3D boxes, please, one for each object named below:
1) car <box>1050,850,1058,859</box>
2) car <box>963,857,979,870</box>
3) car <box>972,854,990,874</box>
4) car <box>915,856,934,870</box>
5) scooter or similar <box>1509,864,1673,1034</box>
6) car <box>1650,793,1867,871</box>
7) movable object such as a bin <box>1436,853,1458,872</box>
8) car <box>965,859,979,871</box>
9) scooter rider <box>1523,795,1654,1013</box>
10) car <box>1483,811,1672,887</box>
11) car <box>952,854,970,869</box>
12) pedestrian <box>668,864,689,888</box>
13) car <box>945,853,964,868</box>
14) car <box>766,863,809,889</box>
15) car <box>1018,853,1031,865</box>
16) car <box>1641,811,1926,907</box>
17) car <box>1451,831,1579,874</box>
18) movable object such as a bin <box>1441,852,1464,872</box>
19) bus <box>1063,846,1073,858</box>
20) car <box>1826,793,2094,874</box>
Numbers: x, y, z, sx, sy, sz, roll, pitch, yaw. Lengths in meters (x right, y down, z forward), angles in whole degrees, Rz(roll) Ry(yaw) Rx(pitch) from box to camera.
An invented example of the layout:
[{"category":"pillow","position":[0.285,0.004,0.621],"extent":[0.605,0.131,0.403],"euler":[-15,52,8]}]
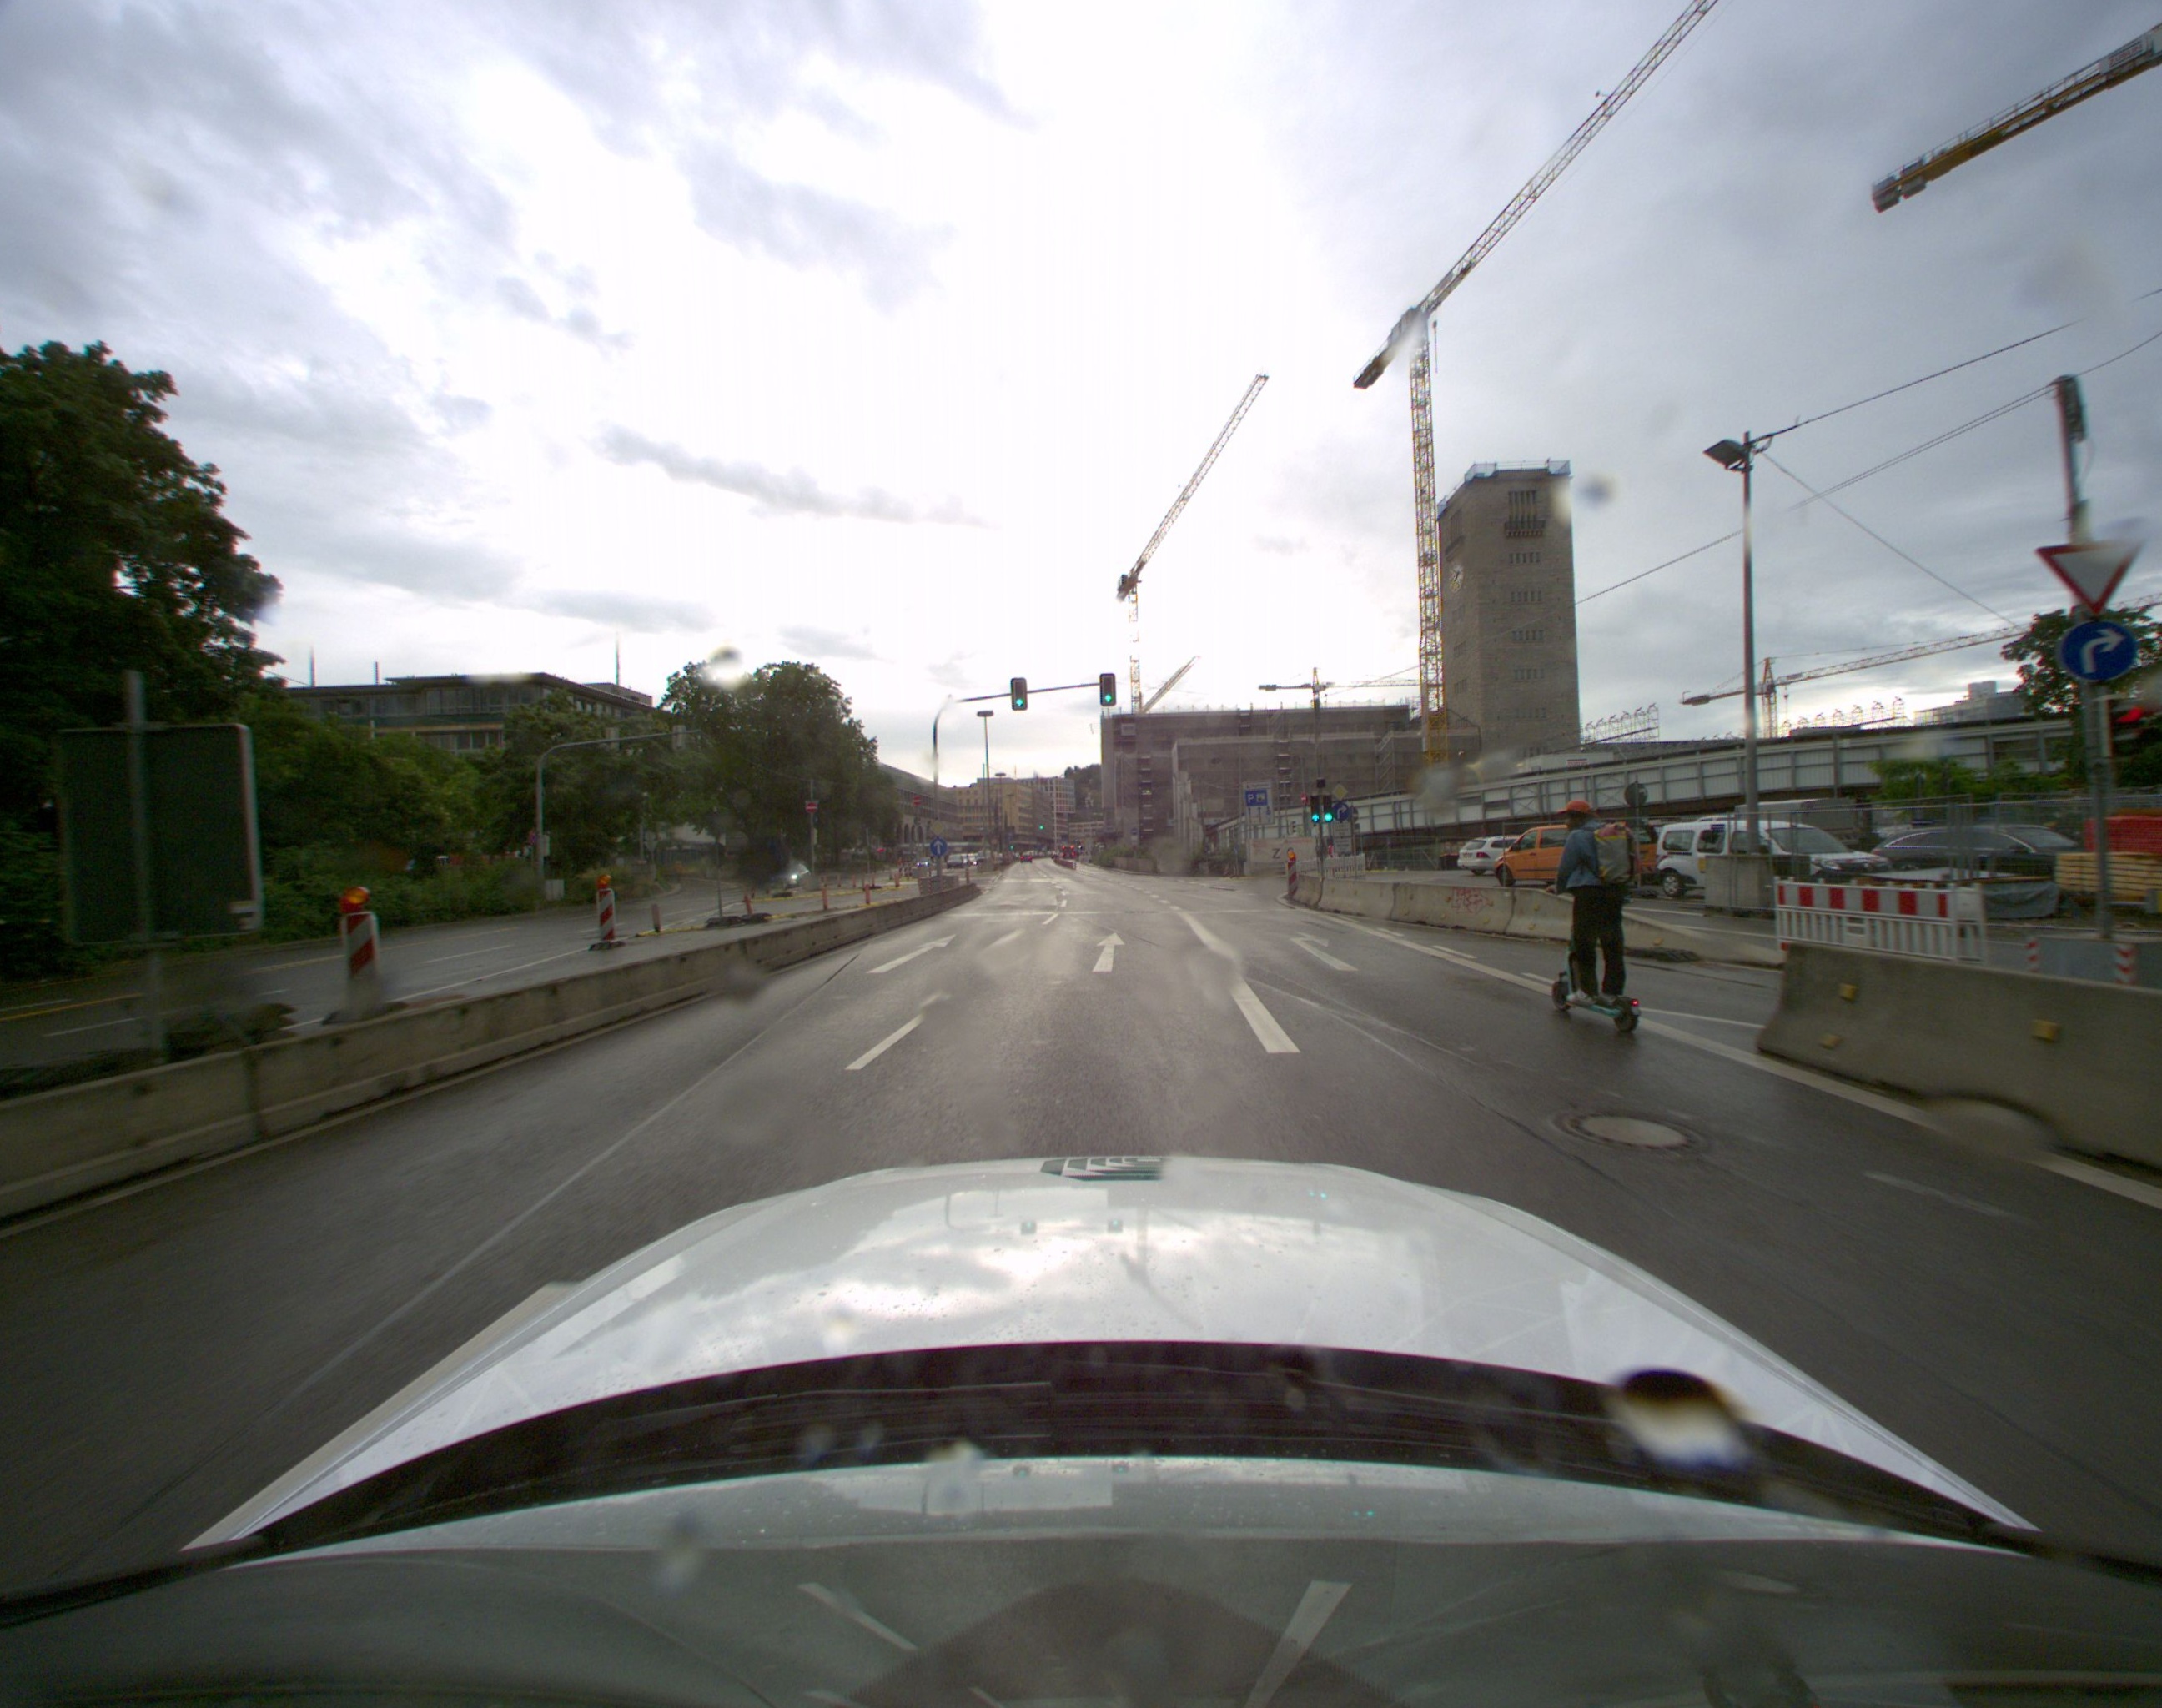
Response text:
[{"category":"car","position":[-6.532,0.094,197.916],"extent":[1.988,2.014,3.996],"euler":[-4,-2,-2]},{"category":"car","position":[-14.853,1.280,110.098],"extent":[1.900,1.528,4.168],"euler":[-3,-2,-6]},{"category":"car","position":[-11.673,1.187,95.395],"extent":[1.900,2.083,4.168],"euler":[-3,-2,-6]},{"category":"car","position":[-19.912,1.128,103.439],"extent":[1.900,1.528,4.168],"euler":[-3,-2,-6]},{"category":"scooter or similar","position":[4.471,0.766,7.283],"extent":[0.594,1.319,1.671],"euler":[-1,0,8]},{"category":"car","position":[22.731,-0.656,27.732],"extent":[2.045,2.313,5.585],"euler":[-3,0,-10]},{"category":"movable object such as a bin","position":[22.231,0.512,49.478],"extent":[0.986,1.102,0.731],"euler":[-4,-2,5]},{"category":"car","position":[-15.724,1.623,117.638],"extent":[1.900,1.528,4.168],"euler":[-3,-2,-6]},{"category":"scooter rider","position":[4.451,0.416,7.217],"extent":[0.594,1.786,0.999],"euler":[-1,-1,8]},{"category":"car","position":[14.417,-0.116,24.097],"extent":[1.911,1.975,5.147],"euler":[-1,0,-9]},{"category":"car","position":[-14.873,0.942,101.119],"extent":[1.900,1.528,4.168],"euler":[-3,-2,-6]},{"category":"pedestrian","position":[-26.567,1.441,53.782],"extent":[0.583,1.557,1.118],"euler":[-4,-2,14]},{"category":"car","position":[-14.798,0.807,95.291],"extent":[1.900,1.528,4.168],"euler":[-3,-2,-6]},{"category":"car","position":[-18.646,1.354,51.913],"extent":[1.766,1.463,4.163],"euler":[-4,0,-10]},{"category":"car","position":[-8.956,0.816,129.337],"extent":[1.900,1.528,4.168],"euler":[-3,-2,-6]},{"category":"car","position":[15.359,0.043,18.300],"extent":[1.843,1.806,5.080],"euler":[-1,1,-4]},{"category":"car","position":[17.104,-0.063,32.181],"extent":[4.200,1.452,1.810],"euler":[-3,1,-8]},{"category":"movable object such as a bin","position":[22.150,0.494,48.629],"extent":[0.986,1.102,0.748],"euler":[-4,-2,5]},{"category":"bus","position":[-2.986,-0.500,189.715],"extent":[1.986,2.431,4.001],"euler":[-4,-2,2]},{"category":"car","position":[20.543,-0.395,19.321],"extent":[1.758,1.559,3.990],"euler":[-3,-2,-7]}]
